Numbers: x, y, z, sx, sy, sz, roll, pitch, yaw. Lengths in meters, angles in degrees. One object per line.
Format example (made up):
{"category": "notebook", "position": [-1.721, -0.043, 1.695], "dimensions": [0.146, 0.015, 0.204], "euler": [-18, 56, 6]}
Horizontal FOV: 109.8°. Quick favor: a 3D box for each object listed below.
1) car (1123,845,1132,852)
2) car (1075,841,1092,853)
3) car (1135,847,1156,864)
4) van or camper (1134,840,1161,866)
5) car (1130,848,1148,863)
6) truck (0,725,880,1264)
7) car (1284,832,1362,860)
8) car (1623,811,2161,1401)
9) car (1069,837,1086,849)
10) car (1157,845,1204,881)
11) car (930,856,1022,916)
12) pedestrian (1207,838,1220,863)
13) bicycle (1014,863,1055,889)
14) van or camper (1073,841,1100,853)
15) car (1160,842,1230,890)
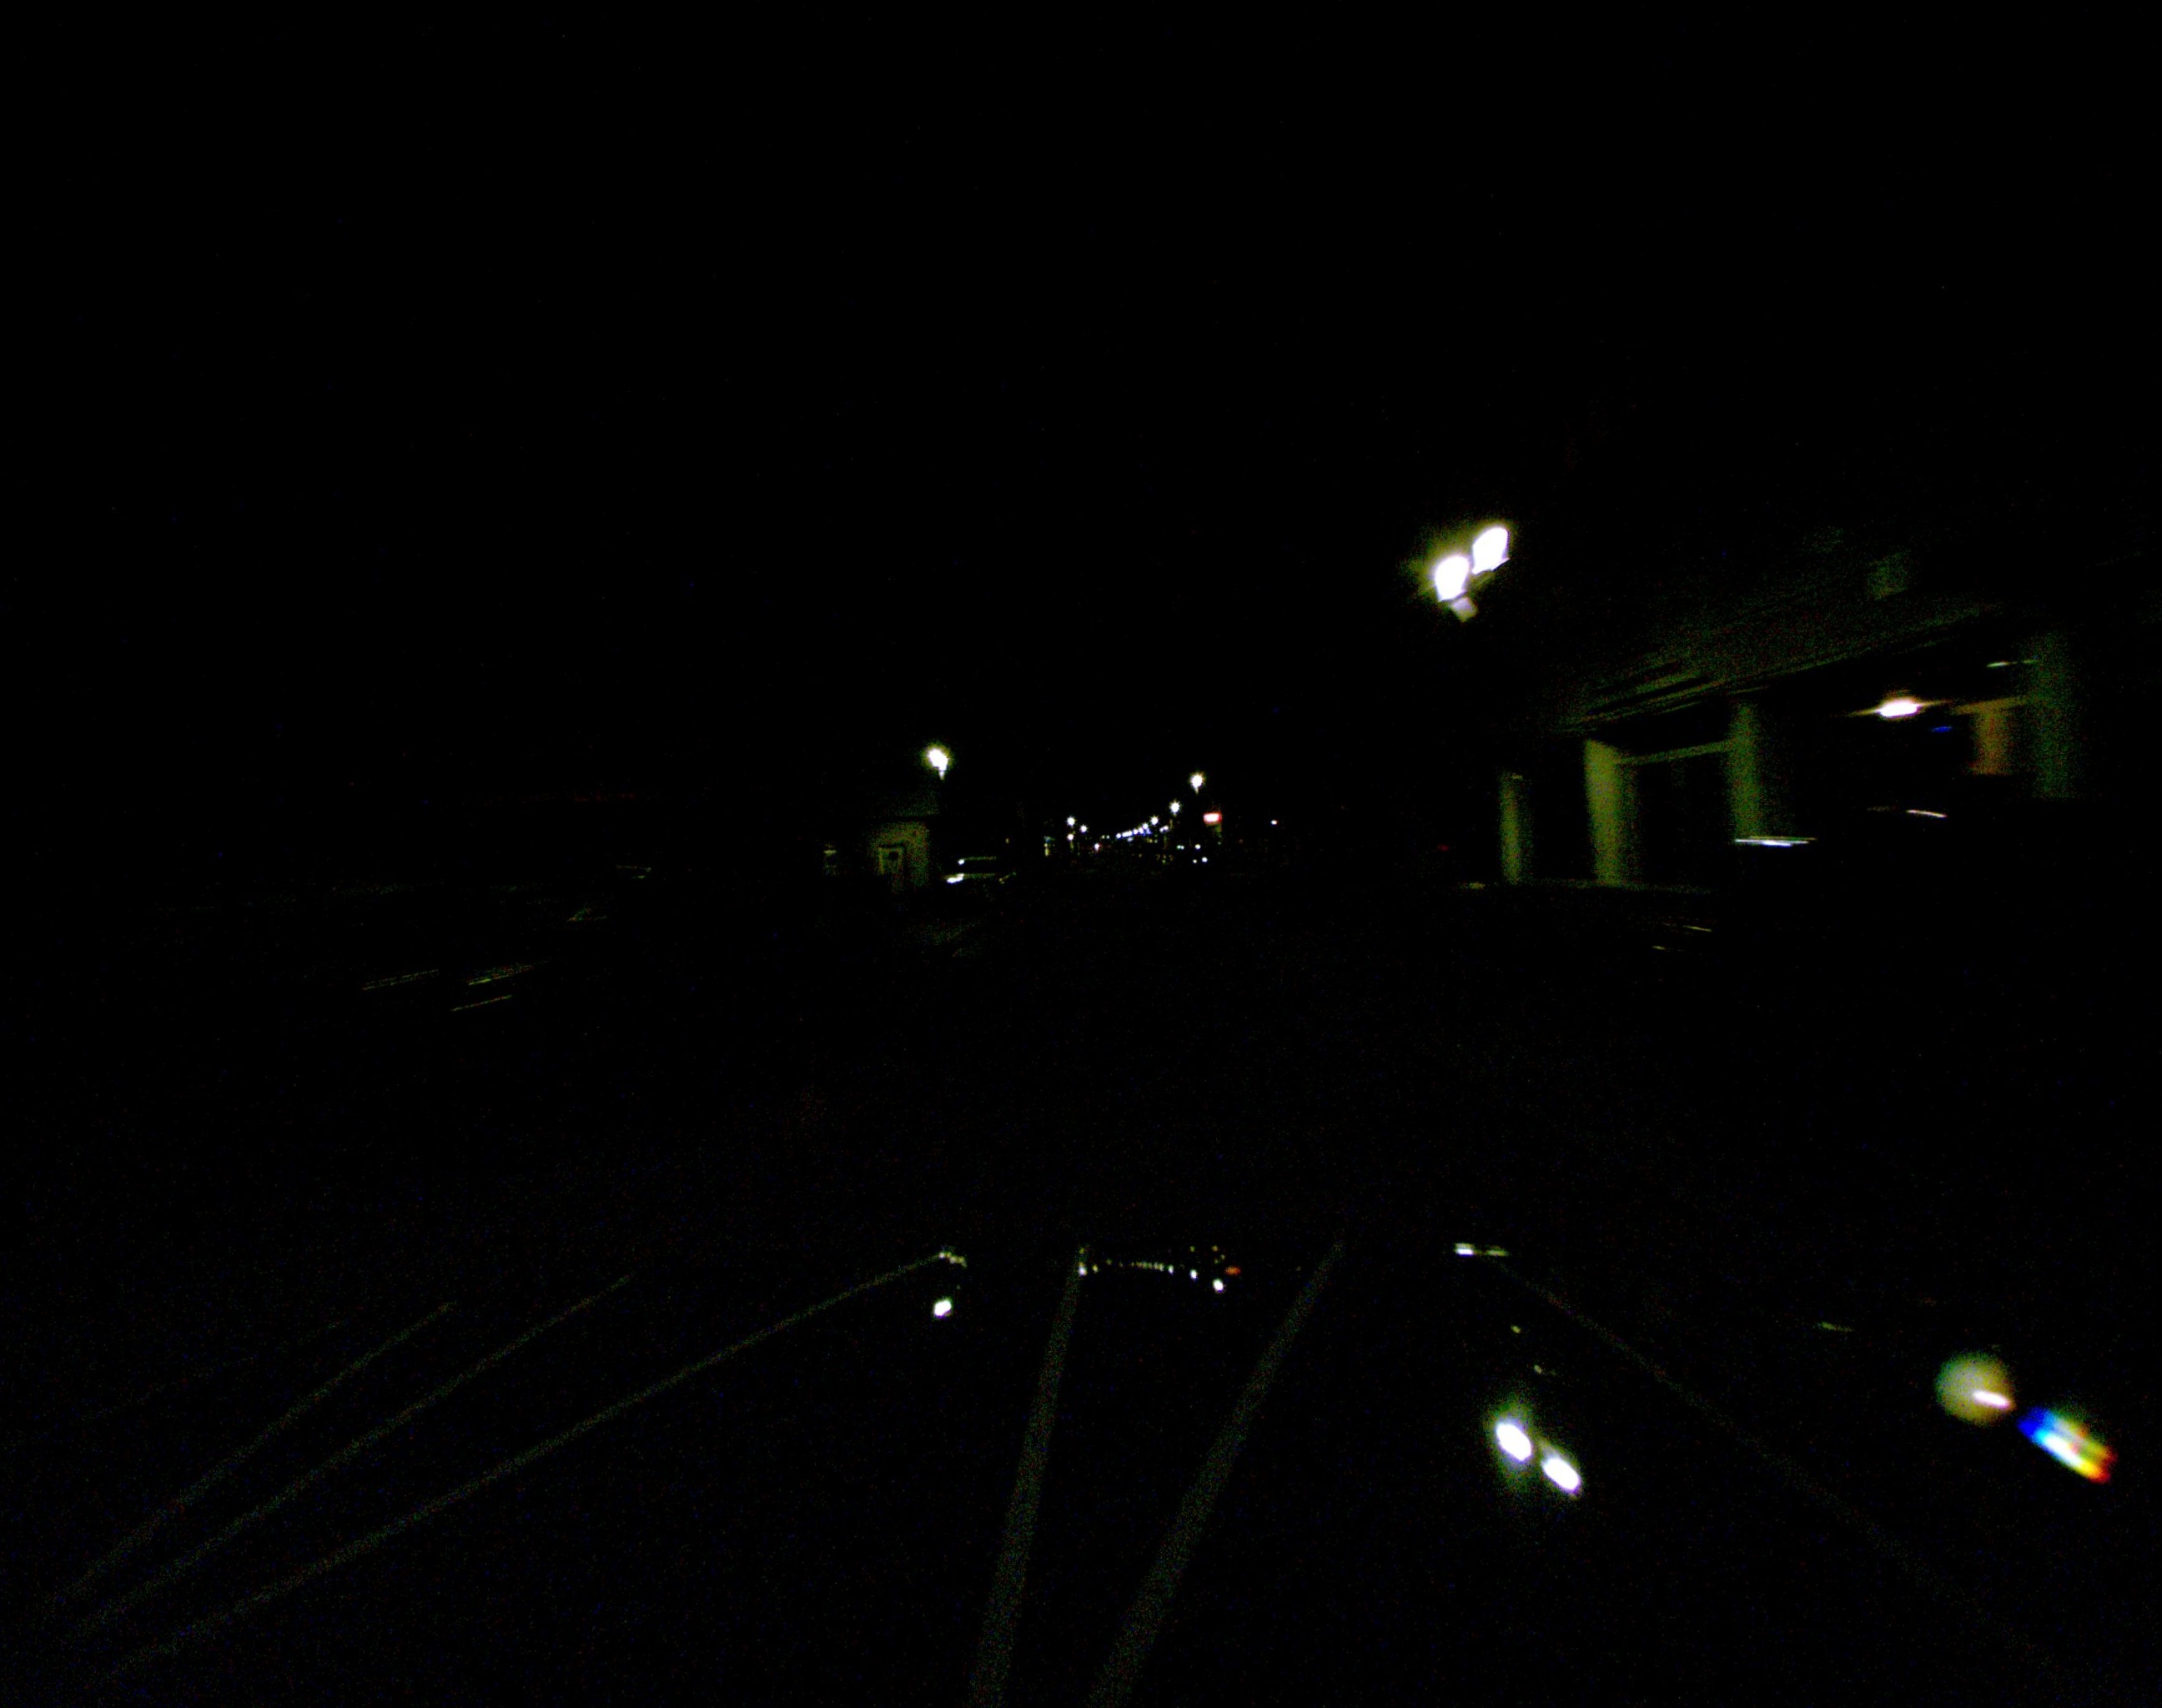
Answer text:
{"category": "car", "position": [10.725, -1.331, 176.342], "dimensions": [1.655, 1.417, 4.014], "euler": [-6, 0, 1]}
{"category": "car", "position": [0.361, -0.976, 100.395], "dimensions": [1.757, 1.456, 4.468], "euler": [-2, 1, 6]}
{"category": "car", "position": [6.148, 0.086, 72.649], "dimensions": [1.721, 1.404, 4.386], "euler": [-5, 1, 3]}
{"category": "van or camper", "position": [5.458, -0.126, 61.897], "dimensions": [1.849, 1.930, 5.156], "euler": [-4, 1, 8]}
{"category": "car", "position": [6.746, 0.140, 88.022], "dimensions": [1.801, 1.469, 4.321], "euler": [-4, 1, 2]}
{"category": "truck", "position": [-3.743, 0.624, 6.260], "dimensions": [2.342, 2.298, 5.781], "euler": [-3, 0, 2]}
{"category": "car", "position": [15.881, -0.517, 50.032], "dimensions": [4.452, 1.392, 1.781], "euler": [-5, -2, 2]}
{"category": "car", "position": [3.730, 0.656, 1.753], "dimensions": [1.678, 1.534, 4.229], "euler": [-5, 0, -4]}
{"category": "car", "position": [-0.431, -1.383, 92.932], "dimensions": [1.664, 1.369, 4.105], "euler": [-2, 1, 6]}
{"category": "car", "position": [4.627, 0.374, 35.892], "dimensions": [1.732, 1.468, 3.847], "euler": [-5, 0, 2]}
{"category": "car", "position": [-2.915, 0.849, 21.948], "dimensions": [1.793, 1.483, 4.059], "euler": [-2, 1, 3]}
{"category": "pedestrian", "position": [9.339, -0.249, 53.630], "dimensions": [0.622, 1.735, 1.023], "euler": [-4, 1, 3]}
{"category": "bicycle", "position": [-2.047, 0.989, 33.719], "dimensions": [1.759, 1.056, 0.346], "euler": [-3, 1, 0]}
{"category": "van or camper", "position": [1.398, -1.626, 184.249], "dimensions": [6.059, 2.519, 2.158], "euler": [-4, 1, -28]}
{"category": "car", "position": [4.360, 0.410, 29.863], "dimensions": [2.024, 1.479, 5.007], "euler": [-6, 0, 2]}
